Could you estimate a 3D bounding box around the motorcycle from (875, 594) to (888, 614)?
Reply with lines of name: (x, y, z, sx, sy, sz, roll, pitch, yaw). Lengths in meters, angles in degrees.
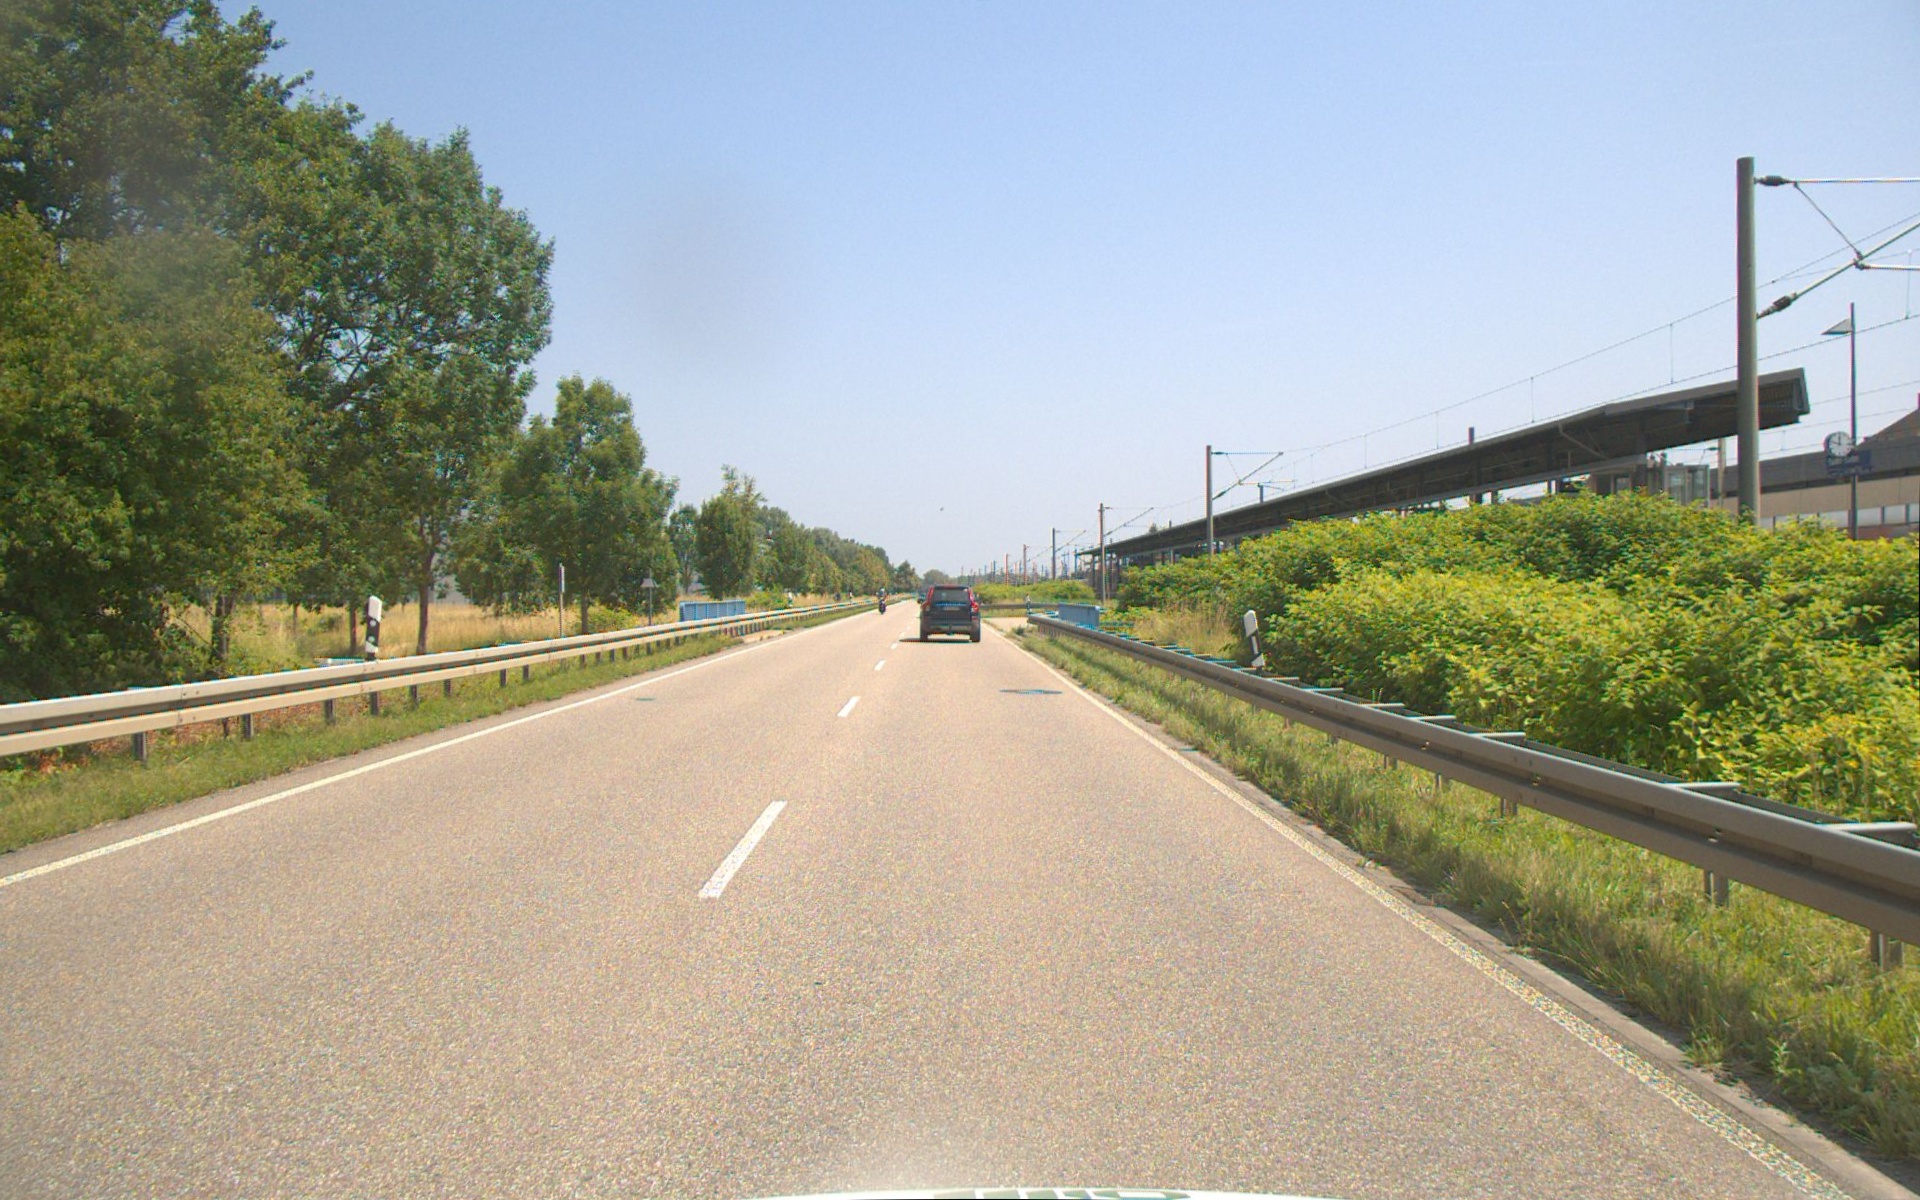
motorcycle: (-5.231, 0.273, 109.701, 0.674, 1.256, 2.370, 1, 0, 2)

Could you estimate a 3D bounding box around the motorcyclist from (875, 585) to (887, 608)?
motorcyclist: (-5.225, -0.225, 109.722, 0.711, 1.490, 0.987, 0, 0, 1)

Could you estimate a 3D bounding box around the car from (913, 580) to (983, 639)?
car: (-0.416, 0.262, 51.129, 1.954, 1.730, 3.998, 0, 0, -3)
